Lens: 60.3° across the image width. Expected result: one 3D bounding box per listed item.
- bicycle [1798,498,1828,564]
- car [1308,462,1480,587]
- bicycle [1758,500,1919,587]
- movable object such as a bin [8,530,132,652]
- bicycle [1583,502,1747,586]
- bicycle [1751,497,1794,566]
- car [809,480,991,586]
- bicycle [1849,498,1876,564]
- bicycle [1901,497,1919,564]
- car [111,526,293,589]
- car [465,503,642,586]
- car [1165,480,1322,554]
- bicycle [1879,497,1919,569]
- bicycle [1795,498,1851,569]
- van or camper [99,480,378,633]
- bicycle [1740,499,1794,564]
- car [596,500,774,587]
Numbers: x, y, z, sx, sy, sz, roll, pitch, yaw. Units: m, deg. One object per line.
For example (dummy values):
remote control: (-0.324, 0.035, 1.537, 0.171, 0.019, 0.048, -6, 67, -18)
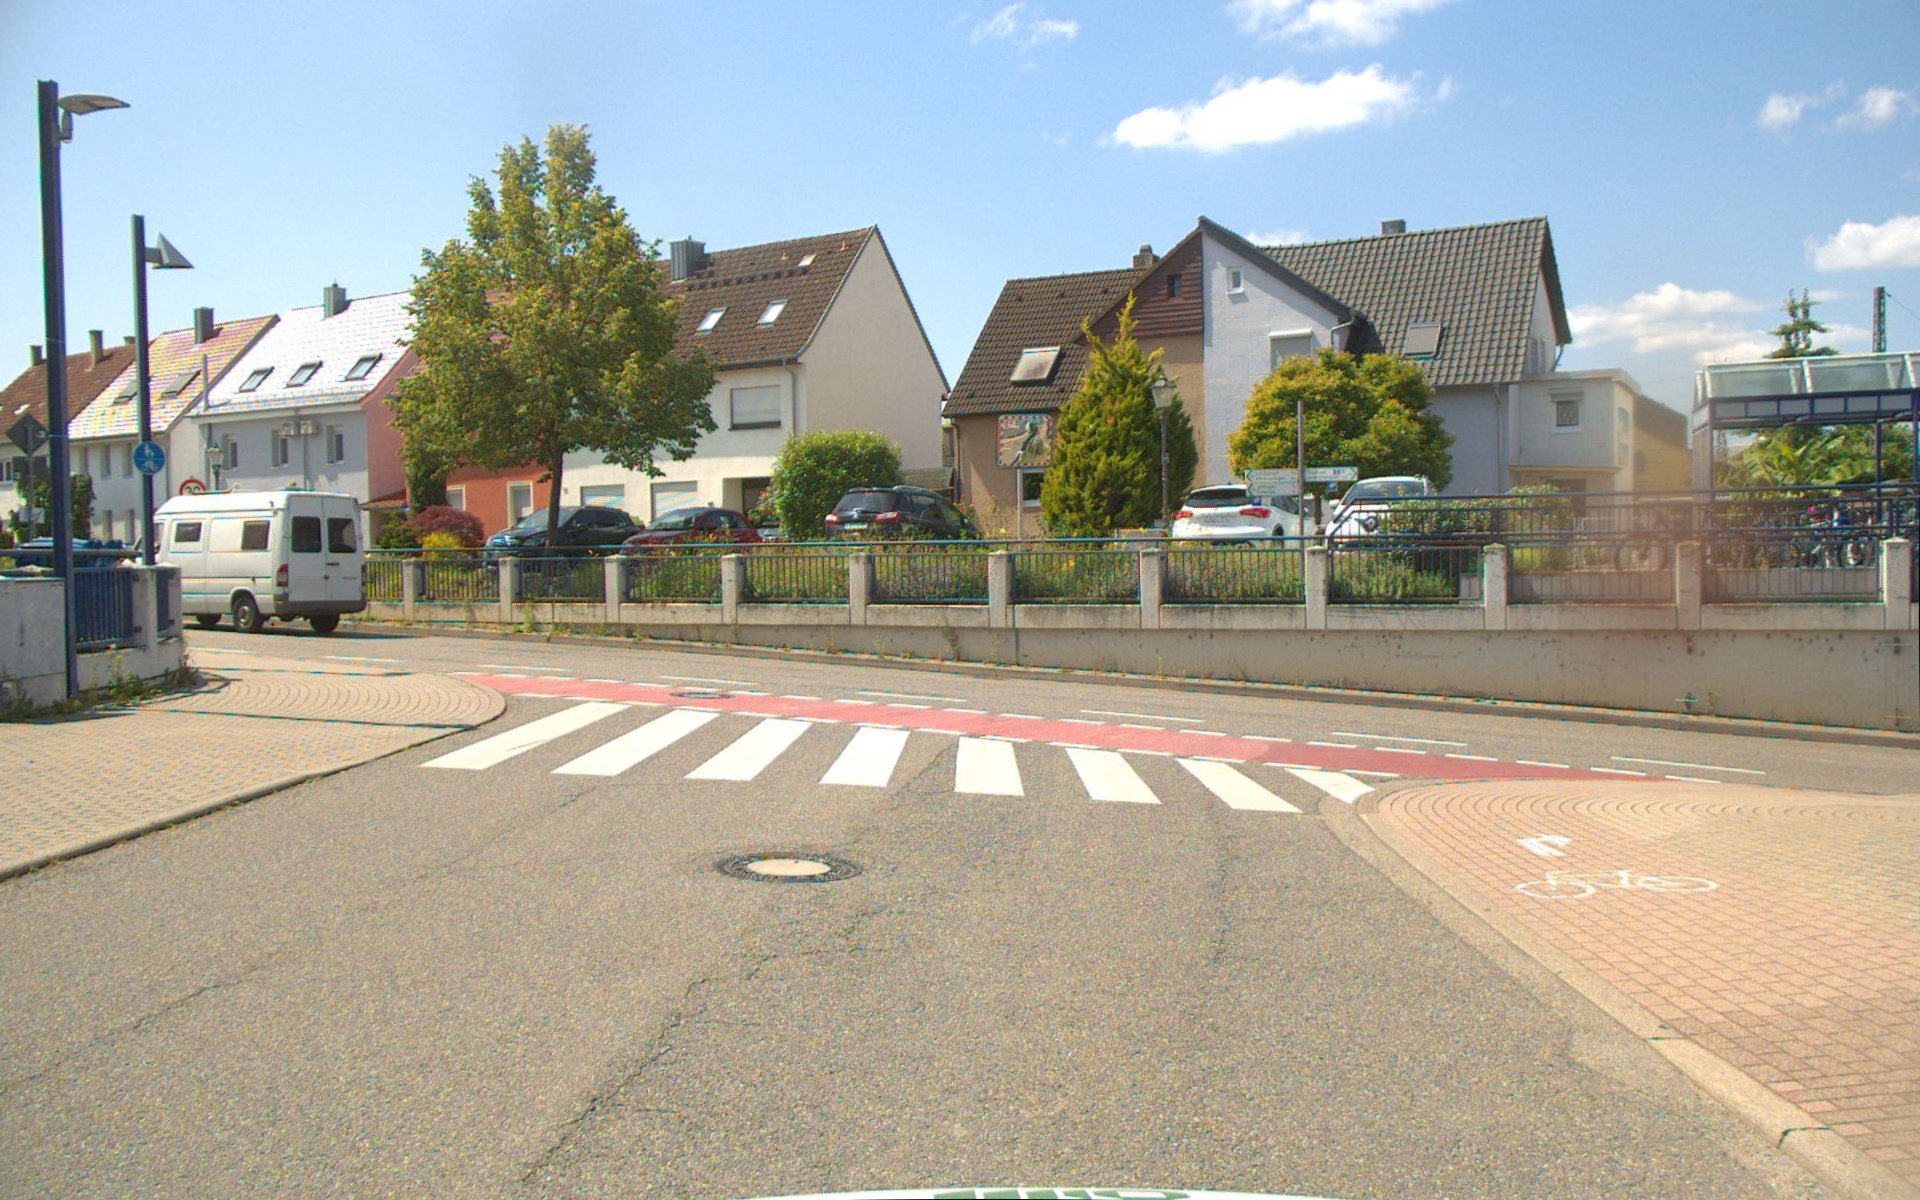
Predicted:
bicycle: (13.640, -1.095, 26.422, 0.365, 1.012, 1.963, 1, 2, 29)
car: (7.336, -1.203, 27.660, 1.955, 1.828, 4.193, 4, 2, 25)
bicycle: (11.917, -0.761, 22.268, 2.071, 1.145, 0.392, 0, 2, 20)
movable object such as a bin: (-9.375, -0.115, 17.468, 0.825, 1.234, 1.272, 0, 1, -13)
bicycle: (9.788, -0.772, 23.028, 2.071, 1.145, 0.333, 0, 2, 20)
bicycle: (12.283, -1.033, 25.039, 0.325, 1.012, 2.077, 0, 2, 19)
car: (-1.090, -1.260, 32.238, 1.831, 1.828, 3.997, 4, 2, 25)
bicycle: (14.474, -1.105, 26.517, 0.365, 1.012, 1.963, 1, 2, 29)
bicycle: (15.066, -1.093, 26.068, 0.365, 1.012, 1.963, 1, 2, 29)
car: (-20.532, -1.135, 44.967, 1.711, 1.514, 4.246, 4, 2, 32)
car: (-8.808, -1.178, 36.122, 1.831, 1.613, 3.607, 4, 2, 25)
car: (4.996, -1.418, 28.778, 1.789, 1.037, 3.456, 4, 2, 25)
bicycle: (13.730, -0.979, 24.169, 0.427, 1.012, 2.097, 1, 2, 31)
bicycle: (12.735, -0.979, 24.383, 0.428, 1.012, 2.094, 1, 2, 36)
van or camper: (-13.698, -0.851, 31.323, 5.275, 2.676, 2.001, 3, 0, 29)
bicycle: (12.958, -1.094, 26.545, 0.447, 1.012, 1.881, 1, 2, 36)
car: (-5.608, -1.134, 34.157, 1.831, 1.613, 3.607, 4, 2, 25)
